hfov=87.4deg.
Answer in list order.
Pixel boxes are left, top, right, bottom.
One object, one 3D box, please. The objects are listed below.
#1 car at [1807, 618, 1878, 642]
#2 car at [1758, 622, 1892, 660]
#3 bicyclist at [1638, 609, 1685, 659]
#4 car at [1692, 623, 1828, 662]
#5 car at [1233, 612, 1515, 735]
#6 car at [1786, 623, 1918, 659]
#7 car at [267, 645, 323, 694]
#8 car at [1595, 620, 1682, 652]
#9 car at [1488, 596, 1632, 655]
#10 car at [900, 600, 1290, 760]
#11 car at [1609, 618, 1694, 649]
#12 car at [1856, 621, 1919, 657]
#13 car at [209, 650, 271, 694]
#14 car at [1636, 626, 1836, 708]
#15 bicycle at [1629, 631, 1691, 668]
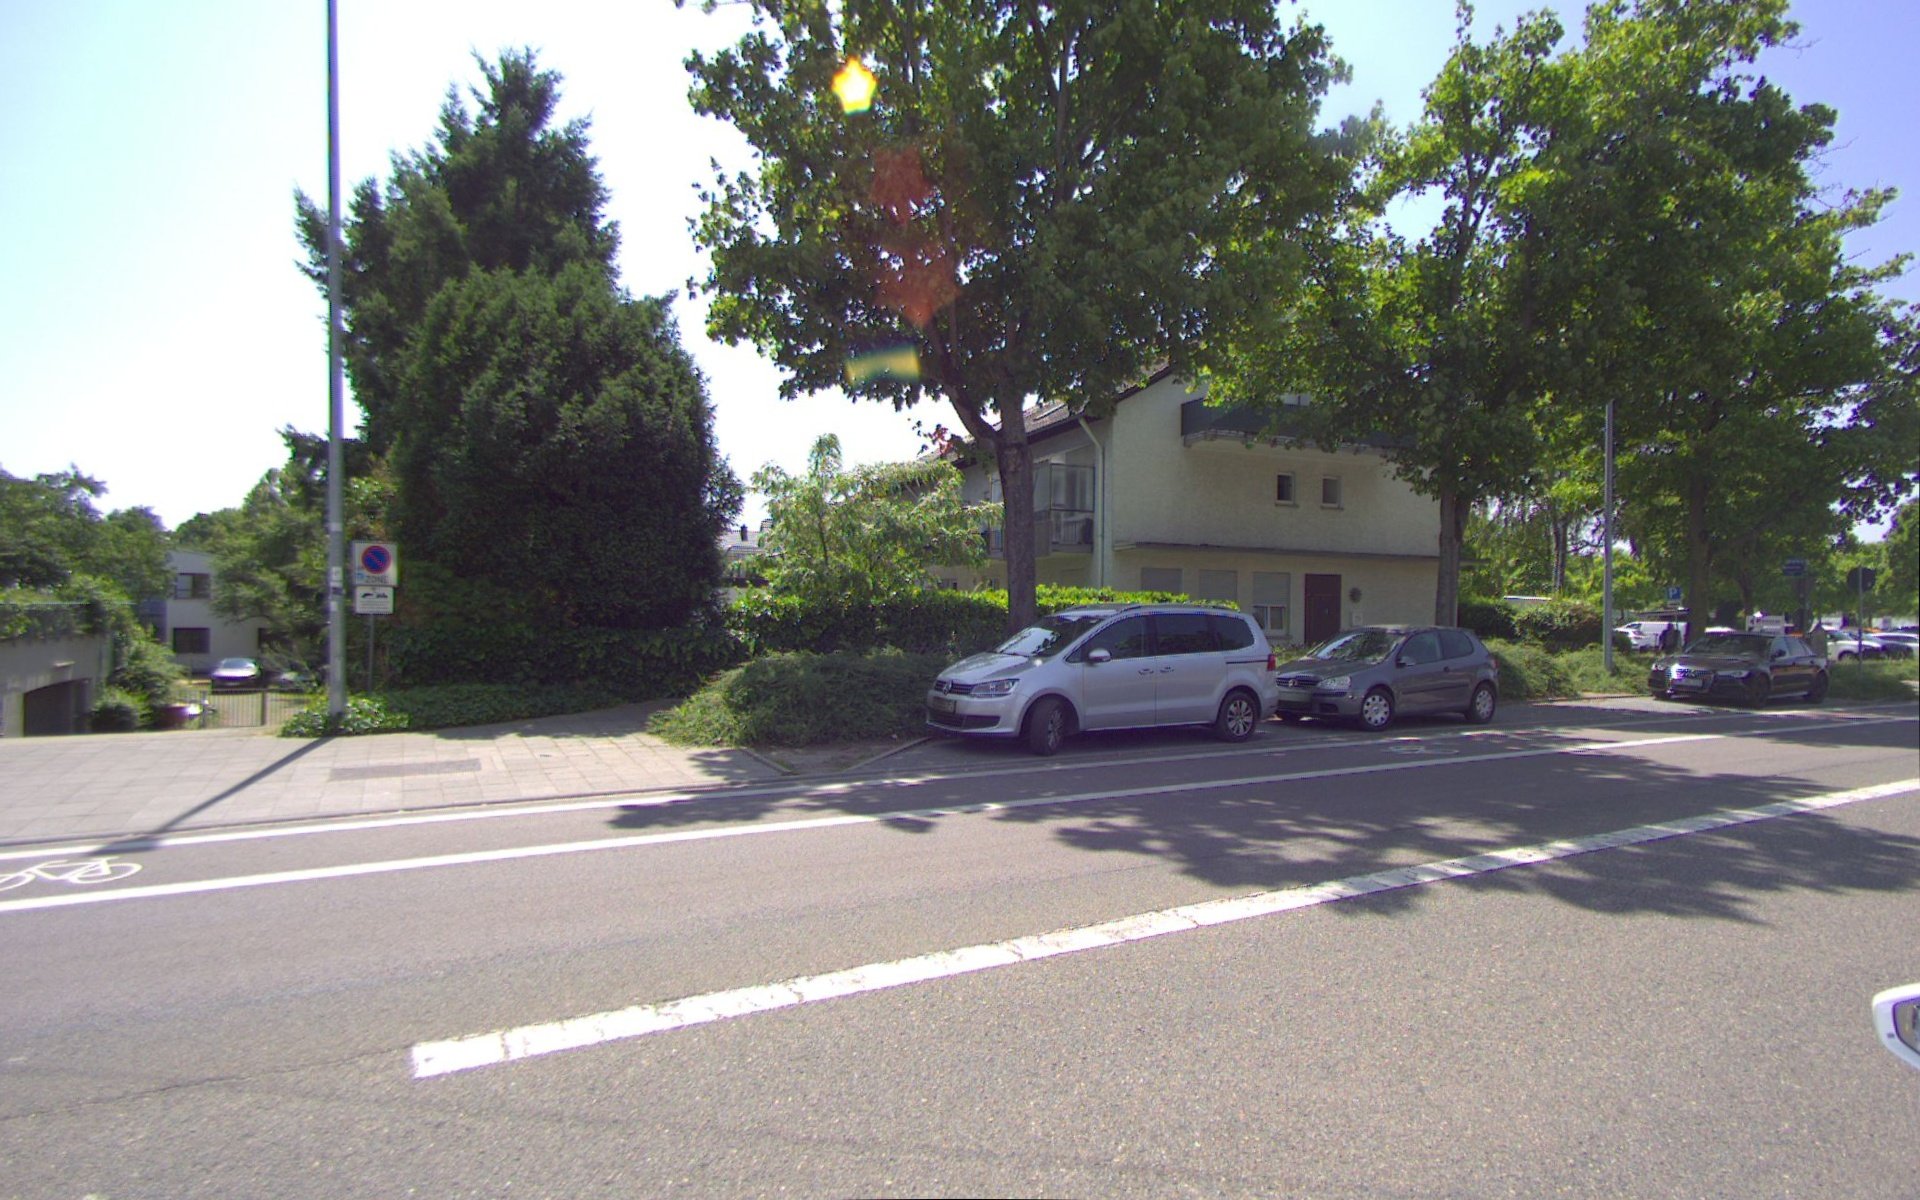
[{"bbox_3d":[72.142,2.444,82.162,1.795,1.638,4.000,2,1,-30],"label":"car"},{"bbox_3d":[39.752,1.859,46.291,1.886,1.606,4.332,1,-1,-24],"label":"car"},{"bbox_3d":[20.778,1.003,29.753,0.817,1.392,0.806,2,1,-27],"label":"bicyclist"},{"bbox_3d":[35.137,1.831,44.234,1.891,1.606,4.321,1,-1,-31],"label":"car"},{"bbox_3d":[6.315,1.023,15.229,4.132,1.585,1.809,1,1,-31],"label":"car"},{"bbox_3d":[42.116,1.906,47.553,1.886,1.606,4.333,1,-1,-23],"label":"car"},{"bbox_3d":[-32.360,3.338,48.975,1.977,2.040,3.967,2,1,-30],"label":"car"},{"bbox_3d":[41.333,2.191,61.249,1.799,1.675,3.957,2,1,-37],"label":"car"},{"bbox_3d":[34.542,1.426,58.133,2.337,3.005,6.817,2,1,-30],"label":"car"},{"bbox_3d":[1.776,0.873,12.617,4.725,1.687,1.863,1,0,-31],"label":"car"},{"bbox_3d":[43.192,2.059,62.802,1.799,1.675,3.957,2,1,-37],"label":"car"},{"bbox_3d":[48.941,1.993,51.608,1.975,1.769,3.968,1,-1,-30],"label":"car"},{"bbox_3d":[-34.414,3.406,48.103,1.977,1.740,3.967,2,1,-30],"label":"car"},{"bbox_3d":[16.303,1.338,21.064,4.397,1.496,1.809,1,1,-31],"label":"car"},{"bbox_3d":[20.714,1.465,29.726,1.805,1.043,0.698,2,1,-27],"label":"bicycle"}]
